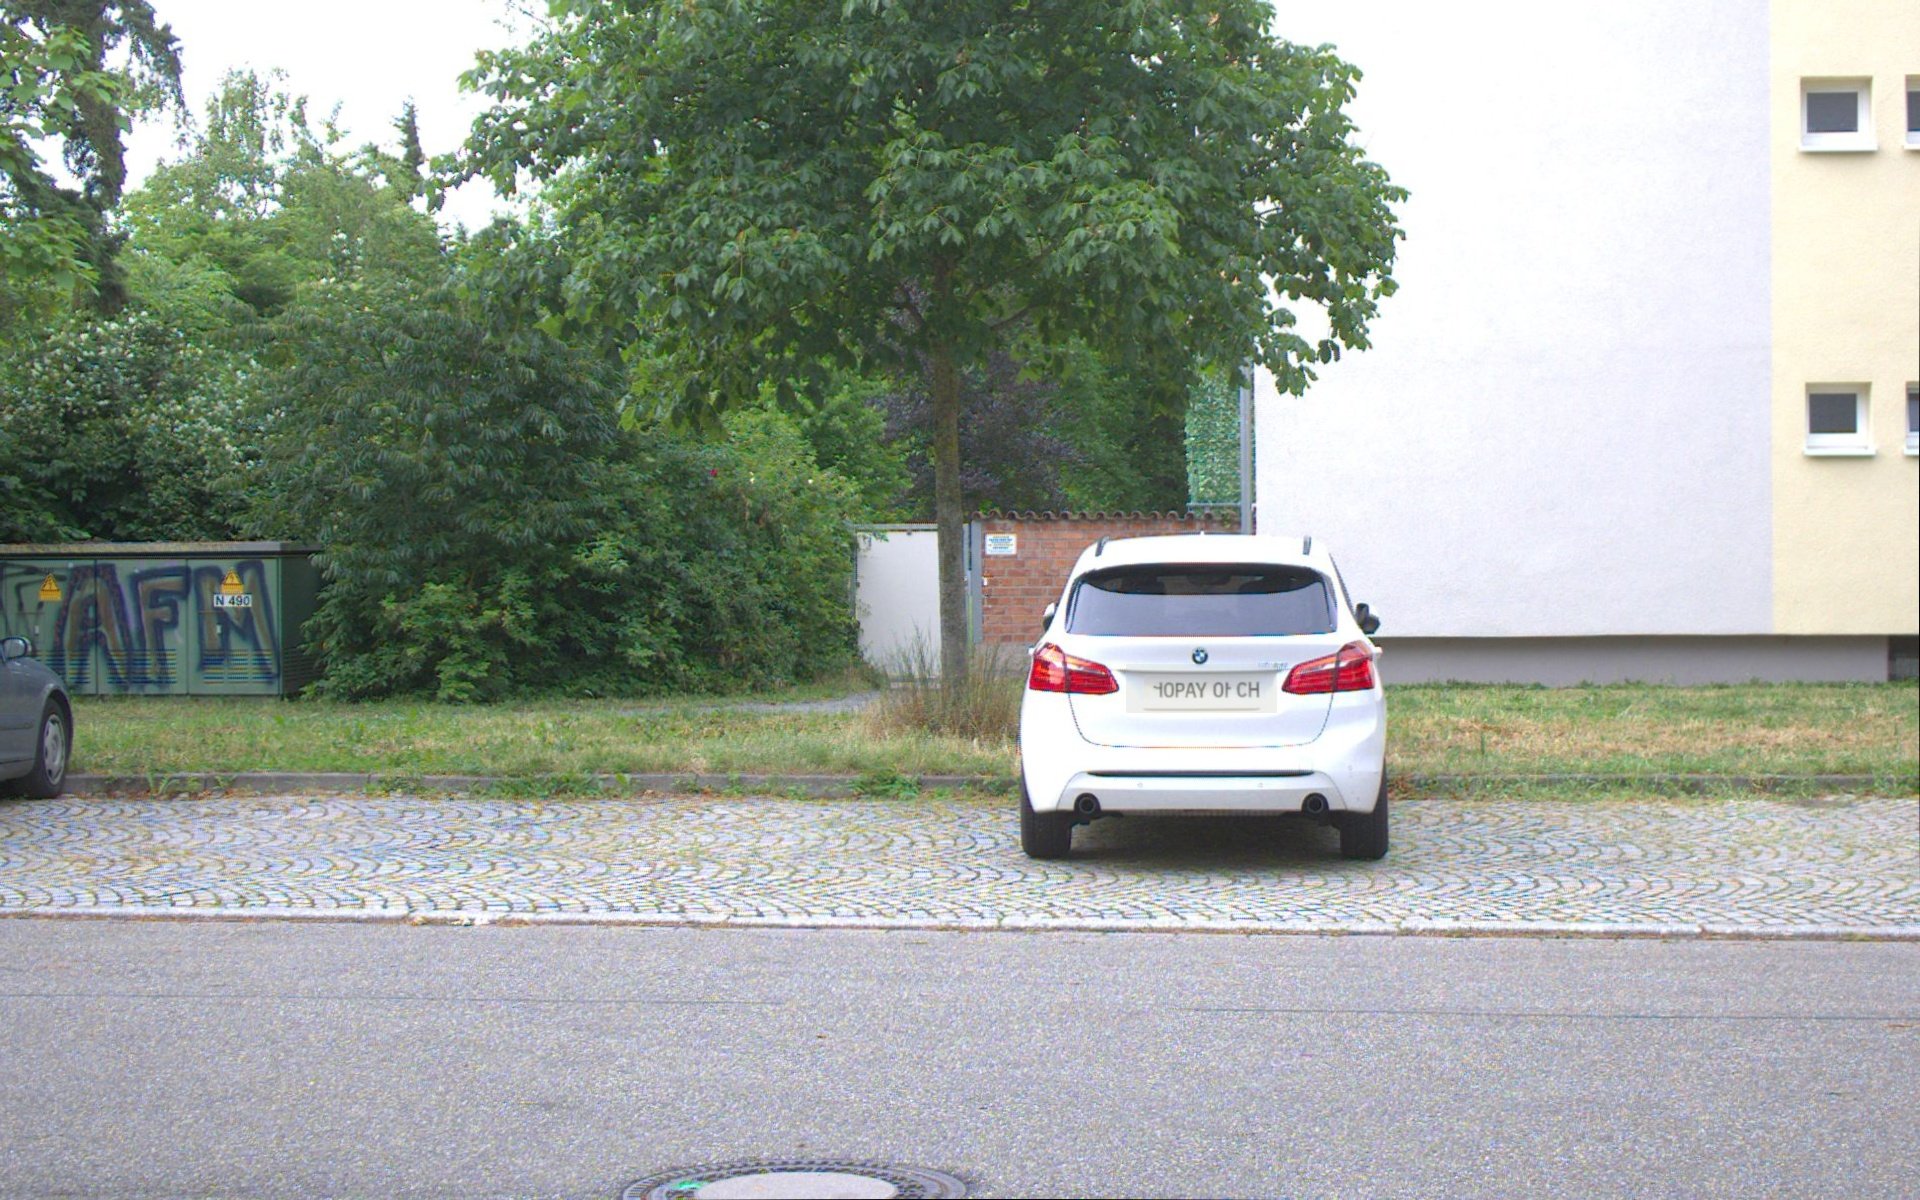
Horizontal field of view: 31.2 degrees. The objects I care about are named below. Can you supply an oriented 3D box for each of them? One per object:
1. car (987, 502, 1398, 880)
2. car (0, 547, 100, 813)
[{"bbox_3d":[1.298,0.362,17.984,1.879,1.555,4.149,1,4,6],"label":"car"},{"bbox_3d":[-6.162,0.465,18.711,1.675,1.449,4.560,0,2,2],"label":"car"}]
